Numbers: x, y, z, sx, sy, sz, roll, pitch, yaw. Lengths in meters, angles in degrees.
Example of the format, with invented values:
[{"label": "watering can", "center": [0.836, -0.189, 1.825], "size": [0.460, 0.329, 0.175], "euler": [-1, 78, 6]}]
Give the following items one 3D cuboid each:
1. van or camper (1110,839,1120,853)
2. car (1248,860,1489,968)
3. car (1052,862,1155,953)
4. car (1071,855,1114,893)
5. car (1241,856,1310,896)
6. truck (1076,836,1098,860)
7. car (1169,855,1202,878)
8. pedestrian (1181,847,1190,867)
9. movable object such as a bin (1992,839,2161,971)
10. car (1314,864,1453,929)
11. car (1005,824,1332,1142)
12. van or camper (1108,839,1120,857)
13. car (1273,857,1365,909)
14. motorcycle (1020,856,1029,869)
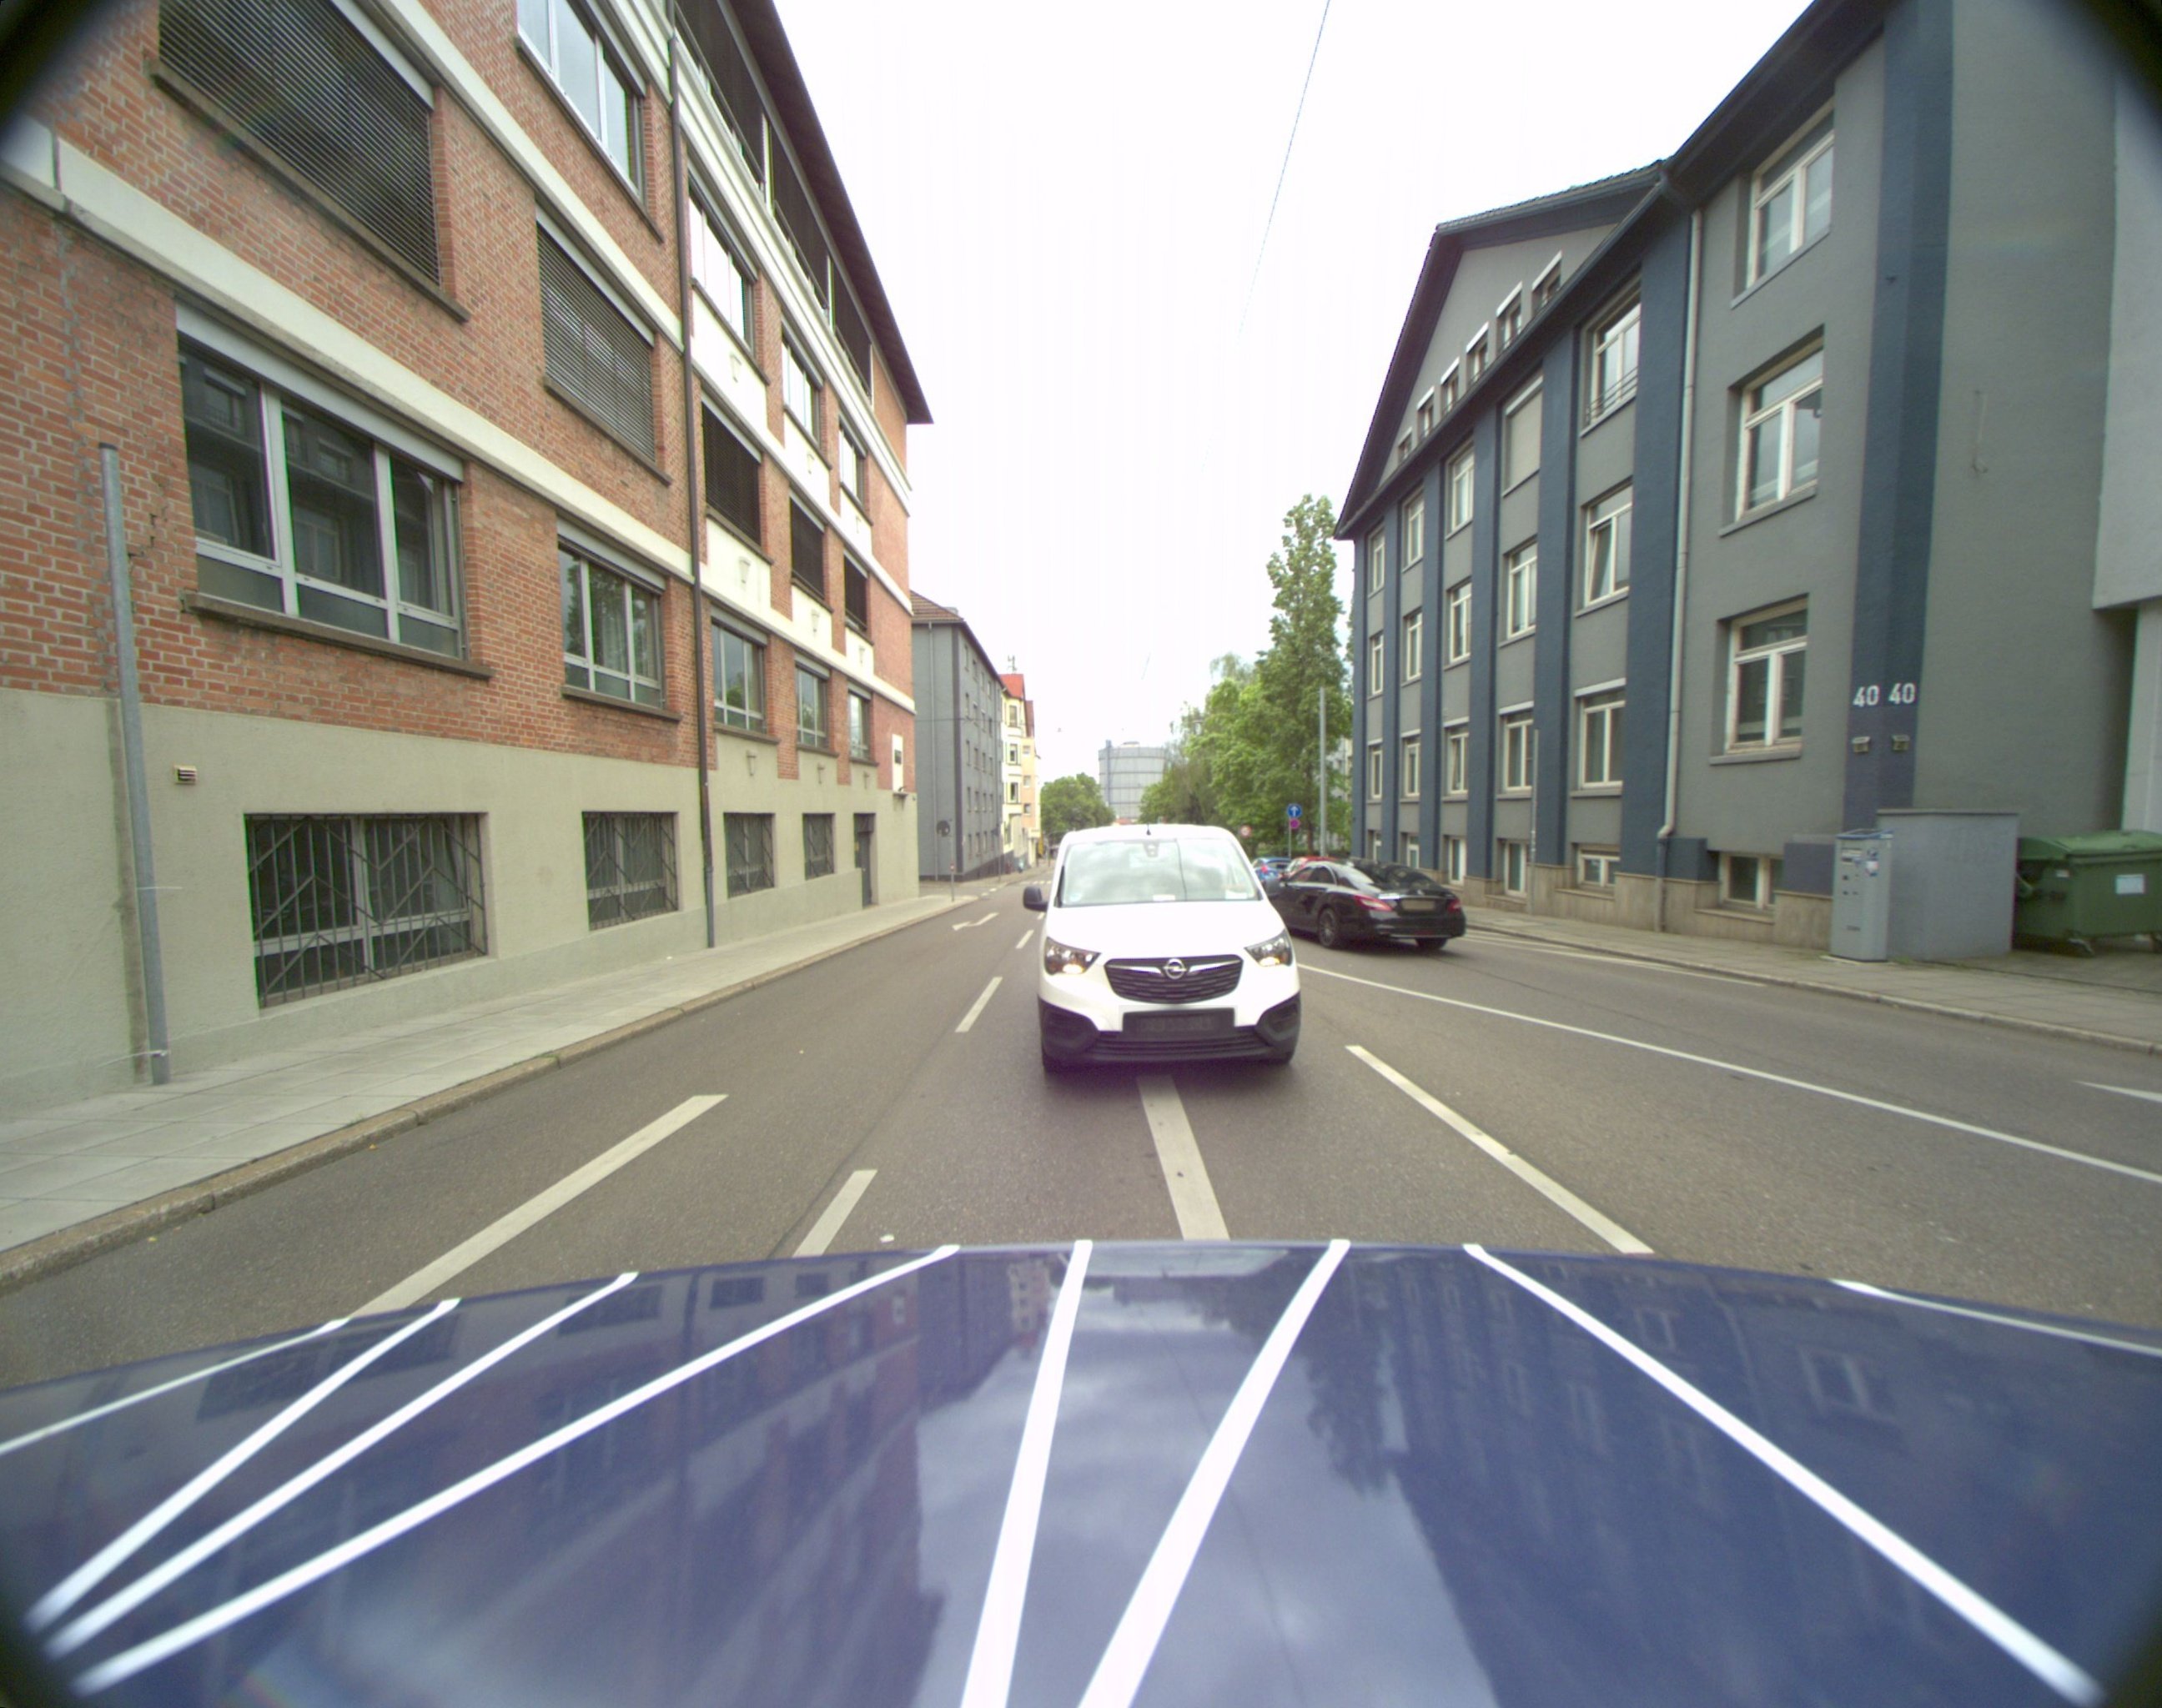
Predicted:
[{"label": "van or camper", "center": [6.739, -1.541, 149.787], "size": [1.914, 2.754, 5.925], "euler": [1, 0, 2]}, {"label": "car", "center": [4.558, 0.874, 12.951], "size": [1.791, 1.410, 4.666], "euler": [2, 0, -8]}, {"label": "car", "center": [0.438, 0.925, 14.793], "size": [1.724, 1.486, 3.727], "euler": [1, 0, 2]}, {"label": "car", "center": [0.510, 0.812, 32.565], "size": [1.724, 1.486, 3.727], "euler": [1, 0, 2]}, {"label": "car", "center": [7.560, 0.819, 29.859], "size": [1.724, 1.445, 3.727], "euler": [1, 0, 0]}, {"label": "truck", "center": [0.975, -0.848, 114.624], "size": [2.980, 3.394, 9.358], "euler": [-2, 0, 1]}, {"label": "car", "center": [6.949, 0.815, 50.909], "size": [1.677, 1.392, 3.794], "euler": [2, 0, 1]}, {"label": "pedestrian", "center": [9.977, 0.293, 72.441], "size": [0.746, 1.839, 0.776], "euler": [-1, 1, 2]}, {"label": "movable object such as a bin", "center": [12.047, 0.582, 9.100], "size": [1.267, 1.448, 0.784], "euler": [-3, 2, 4]}, {"label": "car", "center": [7.188, 0.949, 18.523], "size": [1.724, 1.319, 4.041], "euler": [2, 0, -1]}, {"label": "car", "center": [0.559, 0.750, 6.920], "size": [1.840, 1.797, 4.939], "euler": [-2, 0, 1]}, {"label": "van or camper", "center": [5.195, -1.009, 119.937], "size": [1.914, 2.754, 5.925], "euler": [1, 0, 2]}, {"label": "car", "center": [7.521, 0.849, 24.395], "size": [1.819, 1.465, 3.869], "euler": [2, 0, 2]}, {"label": "motorcycle", "center": [-5.097, 0.772, 68.415], "size": [0.566, 1.105, 1.653], "euler": [4, 0, 2]}]
